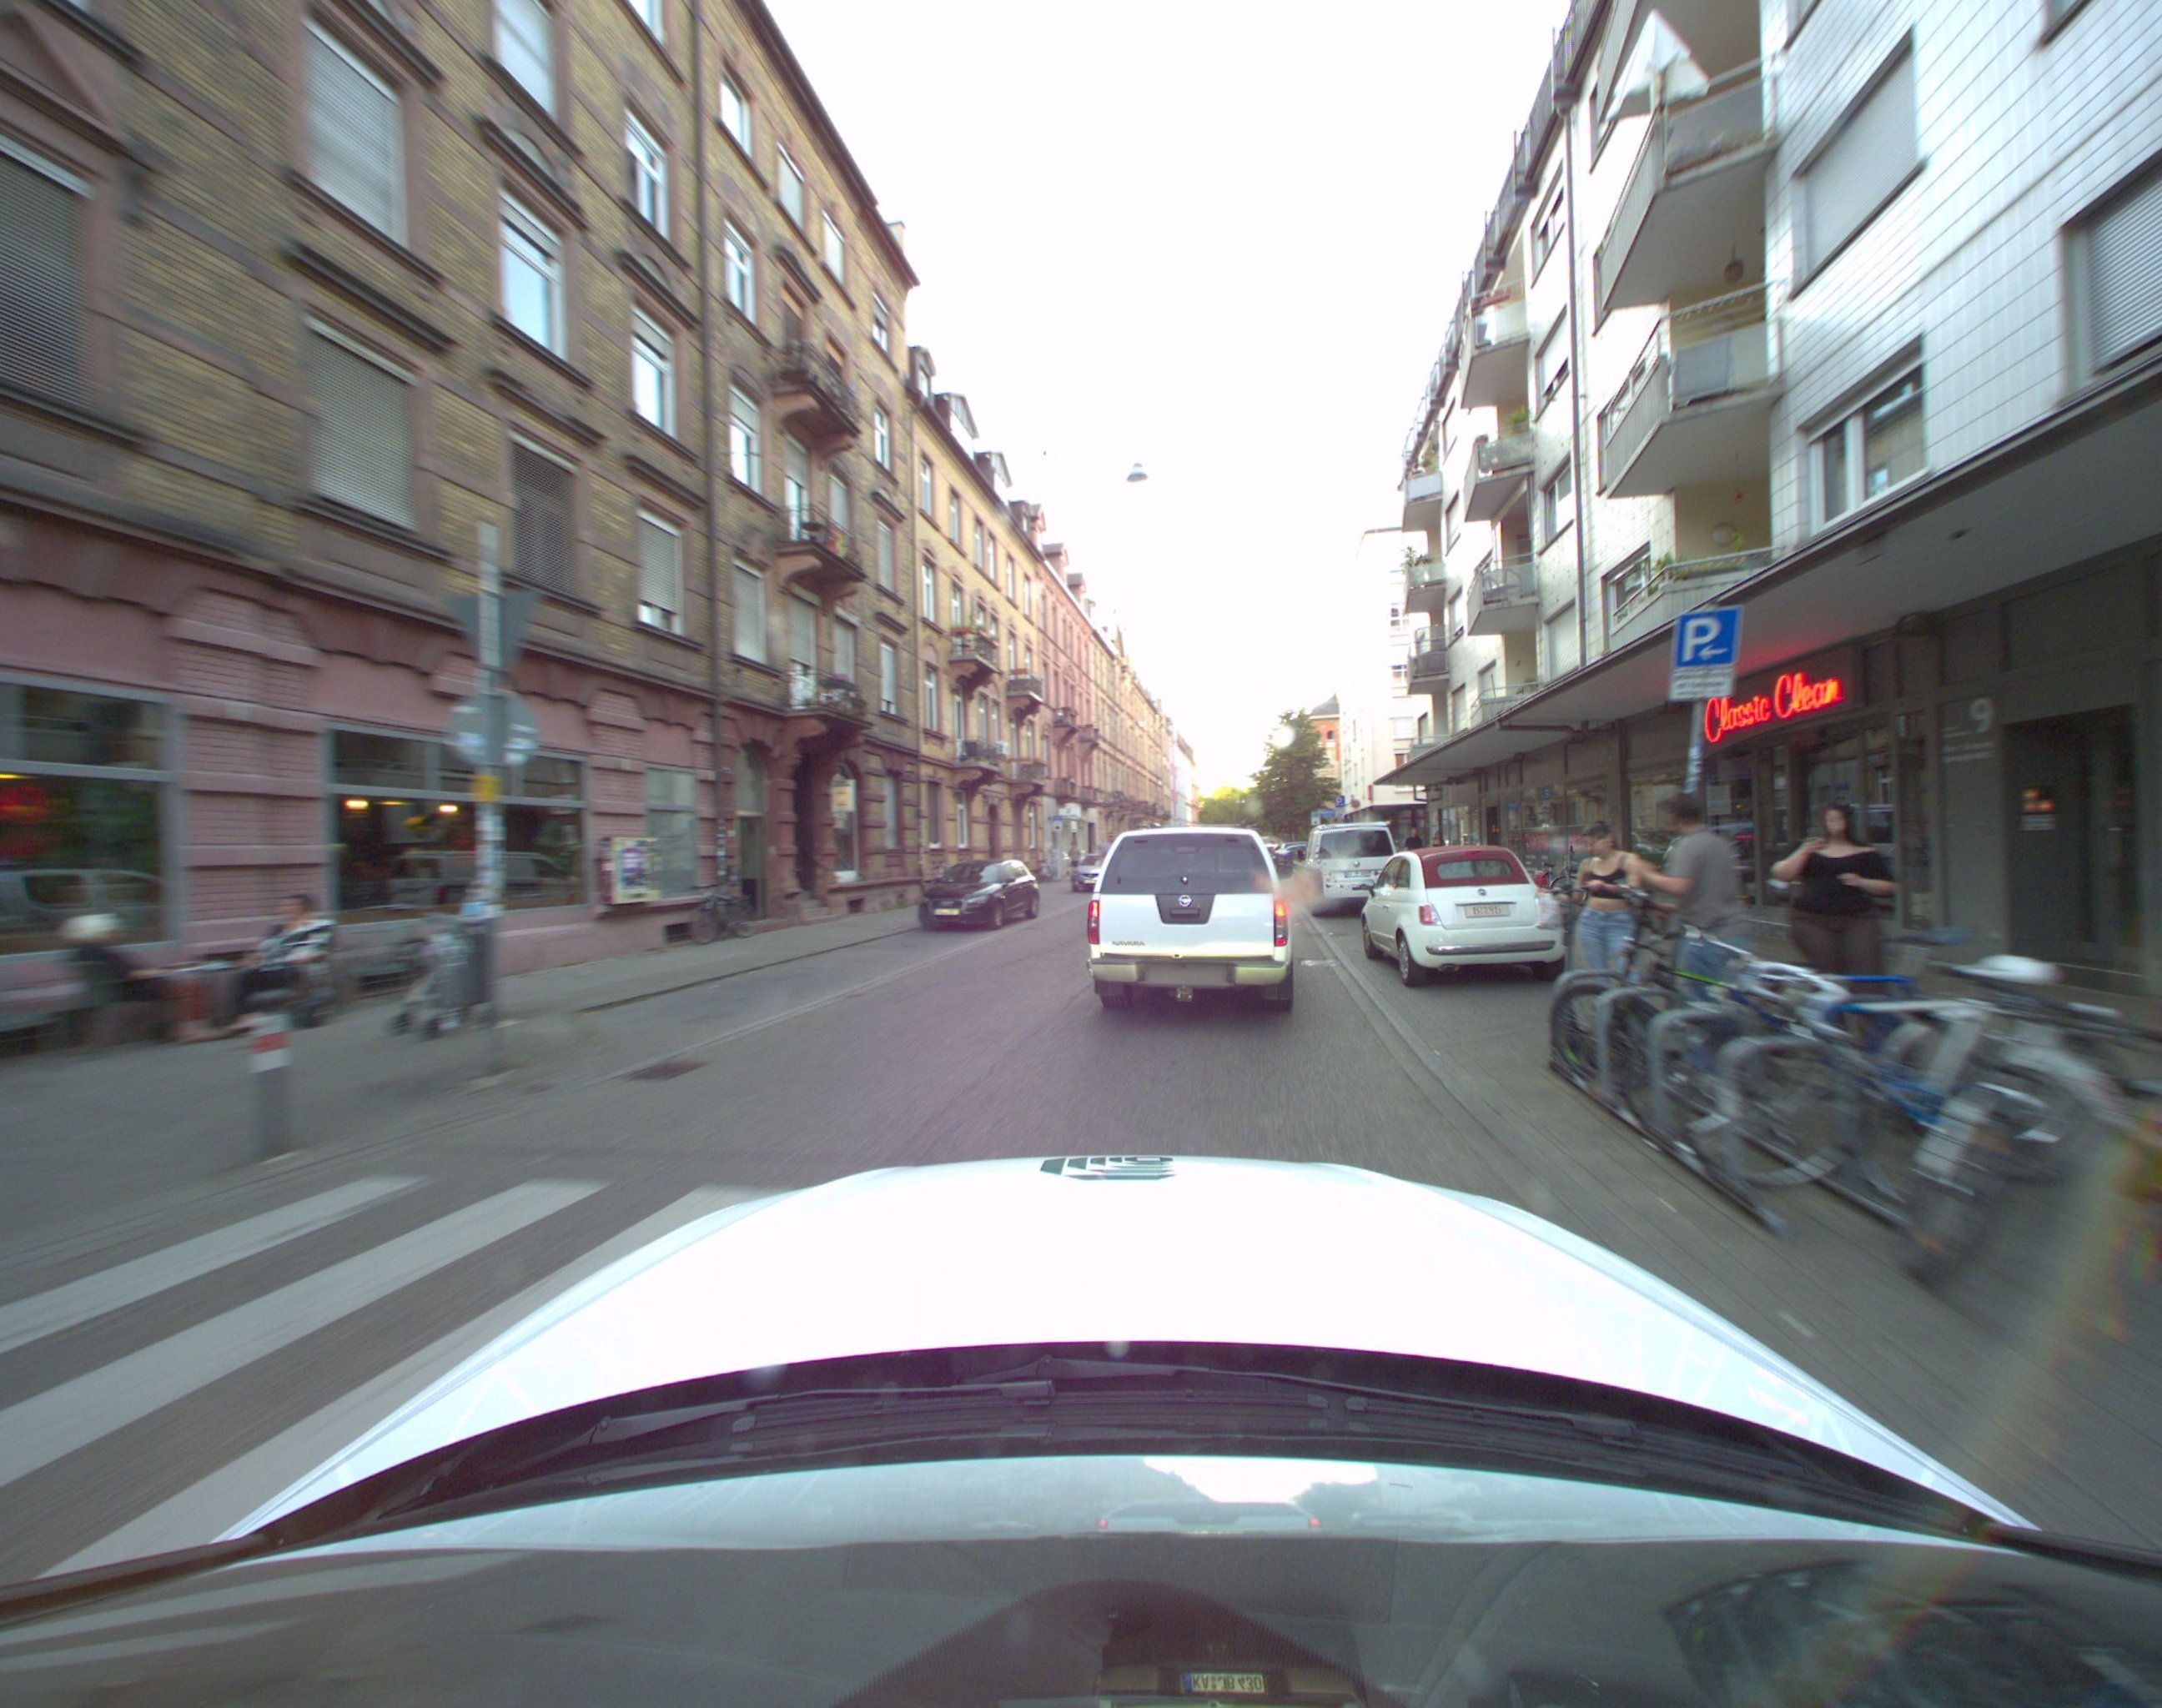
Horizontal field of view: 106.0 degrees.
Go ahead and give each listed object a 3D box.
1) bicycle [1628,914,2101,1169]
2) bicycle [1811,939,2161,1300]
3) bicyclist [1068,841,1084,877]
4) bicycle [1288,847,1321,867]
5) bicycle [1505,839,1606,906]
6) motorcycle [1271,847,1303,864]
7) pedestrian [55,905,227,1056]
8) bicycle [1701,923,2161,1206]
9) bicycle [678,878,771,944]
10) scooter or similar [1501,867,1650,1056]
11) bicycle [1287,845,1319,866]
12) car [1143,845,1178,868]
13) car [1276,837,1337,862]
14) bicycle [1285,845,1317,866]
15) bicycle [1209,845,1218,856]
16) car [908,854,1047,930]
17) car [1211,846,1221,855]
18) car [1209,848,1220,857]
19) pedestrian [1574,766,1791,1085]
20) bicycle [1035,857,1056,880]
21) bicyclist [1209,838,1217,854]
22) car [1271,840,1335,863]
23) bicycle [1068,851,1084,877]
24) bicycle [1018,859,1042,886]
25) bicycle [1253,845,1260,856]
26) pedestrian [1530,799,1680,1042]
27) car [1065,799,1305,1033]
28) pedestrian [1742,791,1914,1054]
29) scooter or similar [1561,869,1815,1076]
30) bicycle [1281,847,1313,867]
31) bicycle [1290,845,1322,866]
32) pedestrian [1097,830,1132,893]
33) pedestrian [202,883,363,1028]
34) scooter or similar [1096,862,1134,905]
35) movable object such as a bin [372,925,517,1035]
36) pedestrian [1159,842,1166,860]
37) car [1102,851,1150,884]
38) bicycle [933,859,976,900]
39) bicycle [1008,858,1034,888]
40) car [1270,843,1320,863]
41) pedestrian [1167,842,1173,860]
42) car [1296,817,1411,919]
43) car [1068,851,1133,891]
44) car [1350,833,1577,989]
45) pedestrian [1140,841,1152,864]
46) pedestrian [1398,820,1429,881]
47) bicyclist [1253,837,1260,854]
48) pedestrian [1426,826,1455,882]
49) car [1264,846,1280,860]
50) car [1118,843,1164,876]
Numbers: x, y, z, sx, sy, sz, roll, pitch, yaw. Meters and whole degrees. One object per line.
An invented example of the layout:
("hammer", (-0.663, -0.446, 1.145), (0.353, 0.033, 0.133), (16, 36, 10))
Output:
("bicycle", (3.517, 0.828, 3.801), (1.467, 1.002, 0.513), (-4, -1, 18))
("bicycle", (3.464, 0.818, 2.657), (1.538, 1.001, 0.512), (-3, -1, 9))
("bicyclist", (-0.248, 0.267, 39.781), (0.706, 1.729, 0.842), (-1, -1, -4))
("bicycle", (13.583, 0.180, 49.532), (1.798, 1.118, 0.709), (-4, -1, 10))
("bicycle", (9.432, 0.362, 16.272), (0.907, 1.196, 1.710), (-4, -1, -1))
("motorcycle", (14.583, 0.129, 57.581), (2.053, 1.078, 0.663), (-4, -1, -4))
("pedestrian", (-7.862, 1.018, 6.842), (0.500, 1.143, 0.794), (-1, -1, 13))
("bicycle", (3.482, 0.826, 3.312), (1.409, 0.984, 0.512), (-3, -1, 9))
("bicycle", (-6.433, 0.997, 14.798), (0.422, 1.053, 1.906), (-1, 0, 15))
("scooter or similar", (3.647, 0.726, 5.980), (1.170, 1.171, 0.531), (-5, 2, -39))
("bicycle", (14.054, 0.108, 51.651), (1.773, 1.182, 0.738), (-6, -2, 22))
("car", (5.262, 0.126, 53.438), (1.746, 1.411, 4.524), (-1, 1, 12))
("car", (17.667, -0.343, 63.980), (4.370, 1.647, 1.752), (-4, 0, 11))
("bicycle", (14.166, 0.117, 52.491), (1.854, 1.182, 0.746), (-6, -2, 16))
("bicycle", (13.633, -0.331, 83.774), (0.642, 1.081, 2.171), (-3, 0, 4))
("car", (-2.149, 0.762, 18.002), (1.681, 1.420, 3.870), (-1, 1, 15))
("car", (22.681, -0.543, 136.733), (1.688, 1.552, 4.033), (0, 0, 9))
("car", (21.495, -0.223, 130.902), (1.688, 1.426, 4.033), (0, 0, 9))
("pedestrian", (3.617, 0.395, 4.942), (0.736, 1.756, 0.660), (-3, 0, -13))
("bicycle", (-1.630, 0.666, 37.685), (0.446, 1.022, 1.854), (2, 1, 12))
("bicyclist", (13.611, -0.817, 83.787), (0.642, 1.621, 0.919), (-3, 0, 3))
("car", (16.680, -0.182, 61.352), (4.401, 1.455, 1.783), (-4, 0, 6))
("bicycle", (-0.246, 0.489, 39.749), (0.706, 1.196, 1.739), (-1, -1, -3))
("bicycle", (-2.132, 0.772, 34.363), (0.545, 1.037, 1.766), (1, 1, 12))
("bicycle", (18.911, -0.359, 87.728), (0.641, 1.081, 1.837), (-3, 0, 10))
("pedestrian", (3.733, 0.438, 5.820), (0.649, 1.600, 0.586), (-3, -1, -28))
("car", (1.392, 0.512, 9.223), (1.898, 1.853, 5.288), (-2, 0, 12))
("pedestrian", (5.032, 0.424, 5.500), (0.565, 1.631, 0.718), (-4, 0, -40))
("scooter or similar", (3.802, 0.727, 5.165), (1.154, 1.171, 0.538), (-3, 1, 5))
("bicycle", (12.939, 0.190, 48.857), (1.711, 1.118, 0.709), (-4, -1, 10))
("bicycle", (13.243, 0.116, 47.912), (1.709, 1.118, 0.710), (-4, -1, 15))
("pedestrian", (0.927, 0.204, 22.399), (0.802, 1.660, 0.675), (-2, 0, 12))
("pedestrian", (-7.621, 0.936, 7.817), (0.646, 1.254, 0.907), (1, 1, -3))
("scooter or similar", (0.951, 0.797, 22.391), (0.801, 1.104, 1.176), (-2, 0, 12))
("movable object such as a bin", (-5.888, 1.145, 7.570), (0.757, 0.916, 0.731), (-1, -1, 8))
("pedestrian", (8.258, -0.329, 82.333), (0.576, 1.771, 1.000), (1, 1, 8))
("car", (2.148, 0.591, 38.115), (1.574, 1.420, 3.710), (-1, 1, 13))
("bicycle", (-3.967, 0.781, 25.681), (0.523, 1.171, 2.056), (0, 1, 15))
("bicycle", (-2.437, 0.749, 32.989), (0.545, 1.123, 1.766), (1, 1, 12))
("car", (18.136, -0.116, 69.179), (3.963, 1.456, 1.833), (-3, 0, 9))
("pedestrian", (8.991, -0.317, 82.459), (0.602, 1.772, 0.779), (1, 1, 8))
("car", (6.208, 0.259, 19.124), (1.945, 1.973, 5.020), (-4, 0, 12))
("car", (0.844, 0.611, 31.897), (1.711, 1.420, 4.597), (0, 0, 12))
("car", (4.428, 0.580, 9.962), (1.582, 1.501, 3.433), (-4, 0, 10))
("pedestrian", (5.123, -0.116, 64.081), (0.549, 1.755, 1.028), (-1, -1, 28))
("pedestrian", (10.379, -0.101, 25.411), (0.702, 1.828, 0.866), (-4, -2, 27))
("bicyclist", (18.903, -0.884, 87.812), (0.641, 1.760, 0.650), (-3, 0, 10))
("pedestrian", (11.008, -0.001, 24.938), (0.702, 1.665, 0.749), (-4, -2, 24))
("car", (21.984, -0.140, 93.737), (1.665, 1.429, 4.494), (-6, -1, 13))
("car", (3.278, 0.262, 43.870), (1.840, 1.633, 4.461), (-1, 1, 12))
